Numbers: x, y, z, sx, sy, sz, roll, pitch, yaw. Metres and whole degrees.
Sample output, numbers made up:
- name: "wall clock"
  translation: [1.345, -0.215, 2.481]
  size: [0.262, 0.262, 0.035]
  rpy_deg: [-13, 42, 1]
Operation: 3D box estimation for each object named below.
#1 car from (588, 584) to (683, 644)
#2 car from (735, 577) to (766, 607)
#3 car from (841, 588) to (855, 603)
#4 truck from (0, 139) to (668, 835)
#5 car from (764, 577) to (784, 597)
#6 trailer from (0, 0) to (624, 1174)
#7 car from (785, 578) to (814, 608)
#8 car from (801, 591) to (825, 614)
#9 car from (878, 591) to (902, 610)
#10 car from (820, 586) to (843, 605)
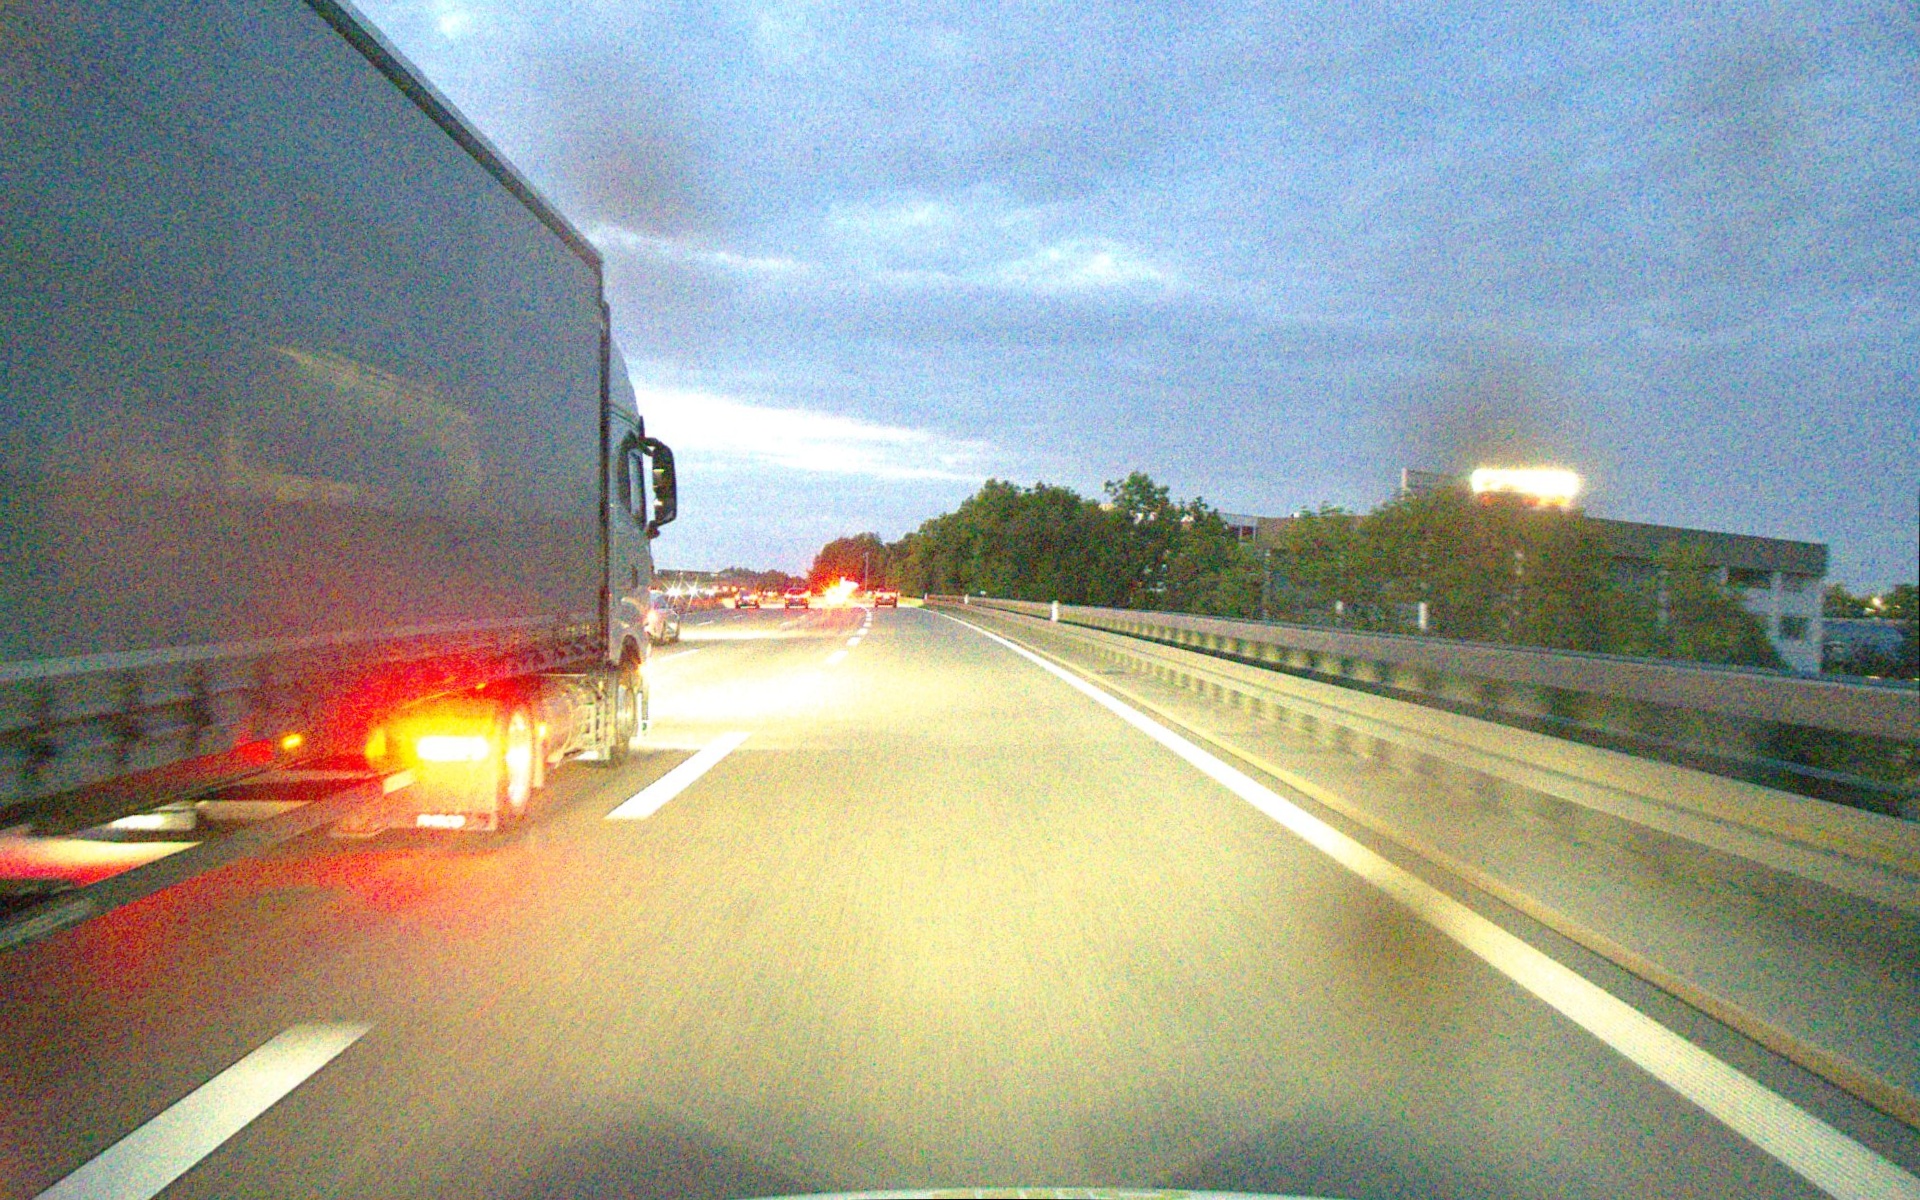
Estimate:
- name: "car"
  translation: [-8.866, 0.375, 45.523]
  size: [1.861, 1.521, 4.149]
  rpy_deg: [2, 0, -2]
- name: "car"
  translation: [-16.269, -0.573, 128.836]
  size: [1.953, 2.083, 3.998]
  rpy_deg: [2, -3, -2]
- name: "car"
  translation: [-16.658, -0.652, 246.132]
  size: [1.953, 2.049, 3.998]
  rpy_deg: [2, -3, -2]
- name: "truck"
  translation: [-4.509, -0.682, 13.050]
  size: [3.479, 4.162, 6.149]
  rpy_deg: [1, 0, -2]
- name: "car"
  translation: [-22.052, -1.522, 196.372]
  size: [1.953, 2.049, 3.998]
  rpy_deg: [2, -3, -1]
- name: "trailer"
  translation: [-4.268, -0.639, 6.070]
  size: [3.479, 4.188, 15.057]
  rpy_deg: [0, 0, -2]
- name: "car"
  translation: [-12.485, -0.507, 128.726]
  size: [1.953, 2.116, 3.998]
  rpy_deg: [2, -3, -2]
- name: "car"
  translation: [-14.891, 0.245, 167.754]
  size: [1.952, 2.049, 4.000]
  rpy_deg: [2, -3, 1]
- name: "car"
  translation: [-5.867, 0.088, 139.504]
  size: [1.953, 1.378, 3.998]
  rpy_deg: [2, -3, -2]
- name: "car"
  translation: [-11.438, -0.391, 147.838]
  size: [1.847, 1.378, 3.998]
  rpy_deg: [2, -3, -2]
